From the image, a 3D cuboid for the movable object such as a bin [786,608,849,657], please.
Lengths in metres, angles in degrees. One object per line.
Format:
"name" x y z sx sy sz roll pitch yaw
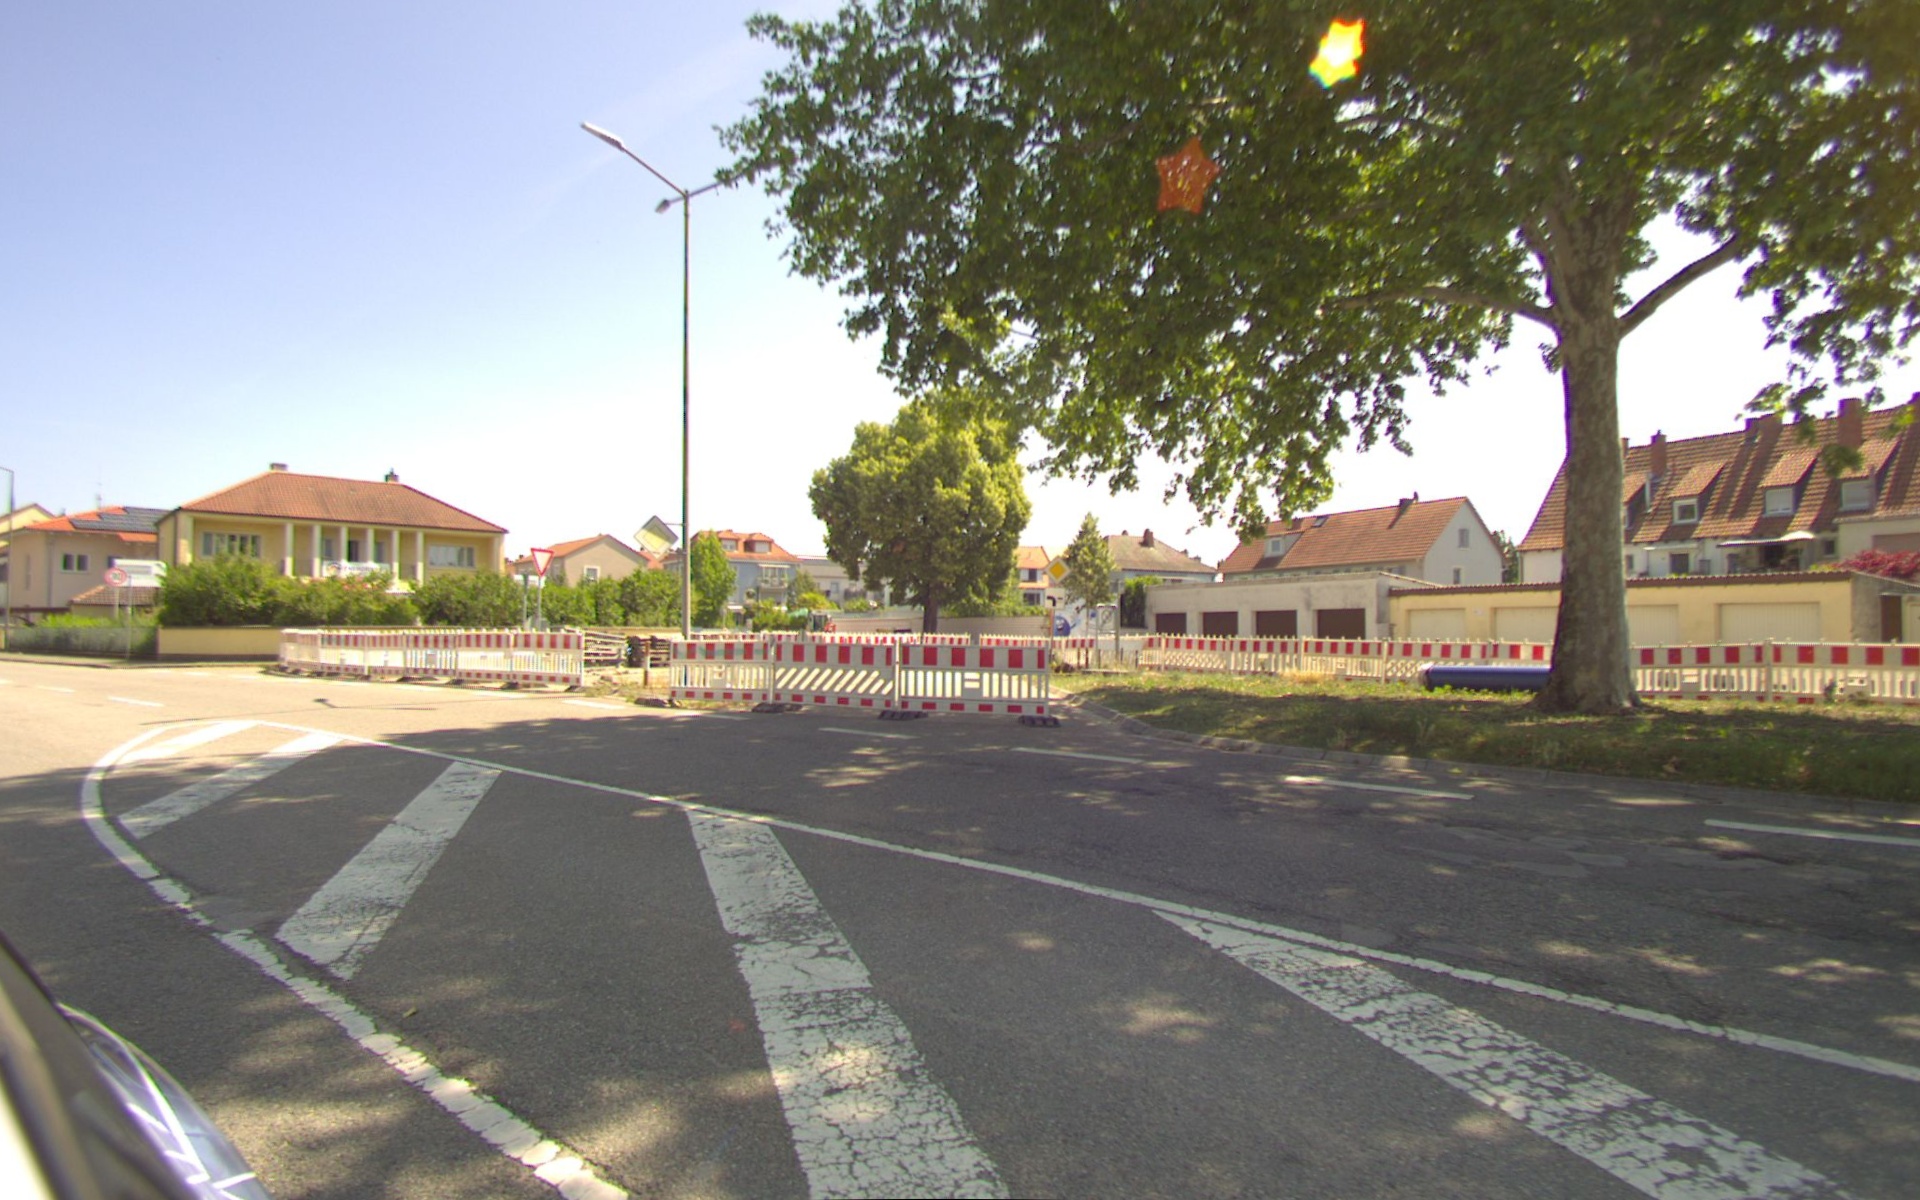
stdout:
"movable object such as a bin" -8.373 1.922 59.342 2.239 2.756 3.942 2 -3 -32
